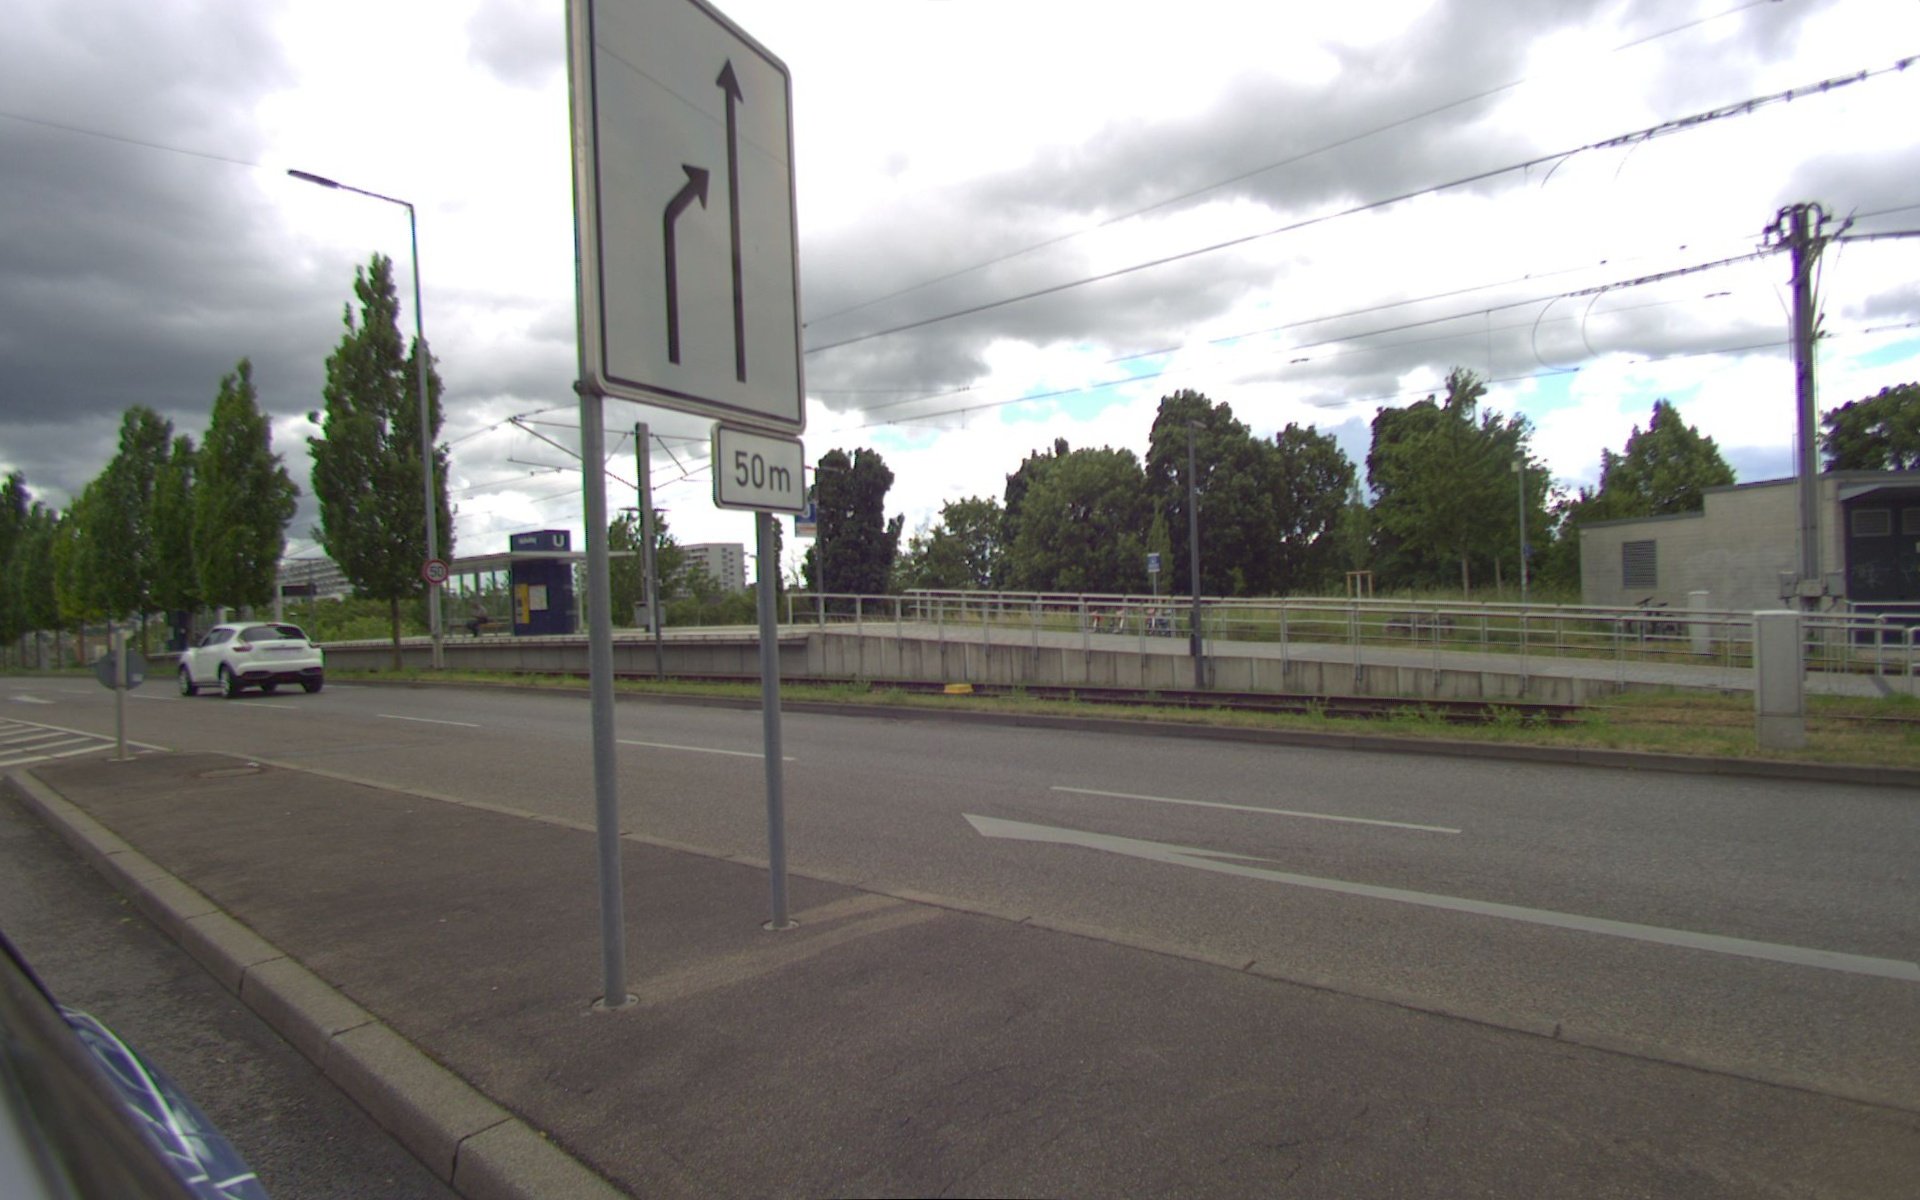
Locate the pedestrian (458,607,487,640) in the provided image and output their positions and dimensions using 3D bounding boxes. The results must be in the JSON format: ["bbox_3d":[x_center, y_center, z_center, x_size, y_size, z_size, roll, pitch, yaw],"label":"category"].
[{"bbox_3d":[-18.255,0.878,37.865,0.781,1.211,0.656,-2,-1,33],"label":"pedestrian"}]

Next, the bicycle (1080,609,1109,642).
[{"bbox_3d":[4.678,0.888,35.153,0.490,1.095,1.466,-2,-1,30],"label":"bicycle"}]

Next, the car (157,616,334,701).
[{"bbox_3d":[-15.531,1.199,21.931,4.416,1.641,1.813,-1,-1,36],"label":"car"}]

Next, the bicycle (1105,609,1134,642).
[{"bbox_3d":[5.435,0.866,34.451,0.490,1.095,1.466,-2,-1,30],"label":"bicycle"}]

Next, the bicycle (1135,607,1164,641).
[{"bbox_3d":[6.375,0.792,33.940,0.490,1.095,1.466,-2,-1,30],"label":"bicycle"}]

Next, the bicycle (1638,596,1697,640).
[{"bbox_3d":[18.190,0.456,26.051,0.486,1.095,1.480,-1,-1,3],"label":"bicycle"}]

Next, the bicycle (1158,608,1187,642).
[{"bbox_3d":[7.041,0.814,33.459,0.490,1.095,1.466,-2,-1,30],"label":"bicycle"}]
